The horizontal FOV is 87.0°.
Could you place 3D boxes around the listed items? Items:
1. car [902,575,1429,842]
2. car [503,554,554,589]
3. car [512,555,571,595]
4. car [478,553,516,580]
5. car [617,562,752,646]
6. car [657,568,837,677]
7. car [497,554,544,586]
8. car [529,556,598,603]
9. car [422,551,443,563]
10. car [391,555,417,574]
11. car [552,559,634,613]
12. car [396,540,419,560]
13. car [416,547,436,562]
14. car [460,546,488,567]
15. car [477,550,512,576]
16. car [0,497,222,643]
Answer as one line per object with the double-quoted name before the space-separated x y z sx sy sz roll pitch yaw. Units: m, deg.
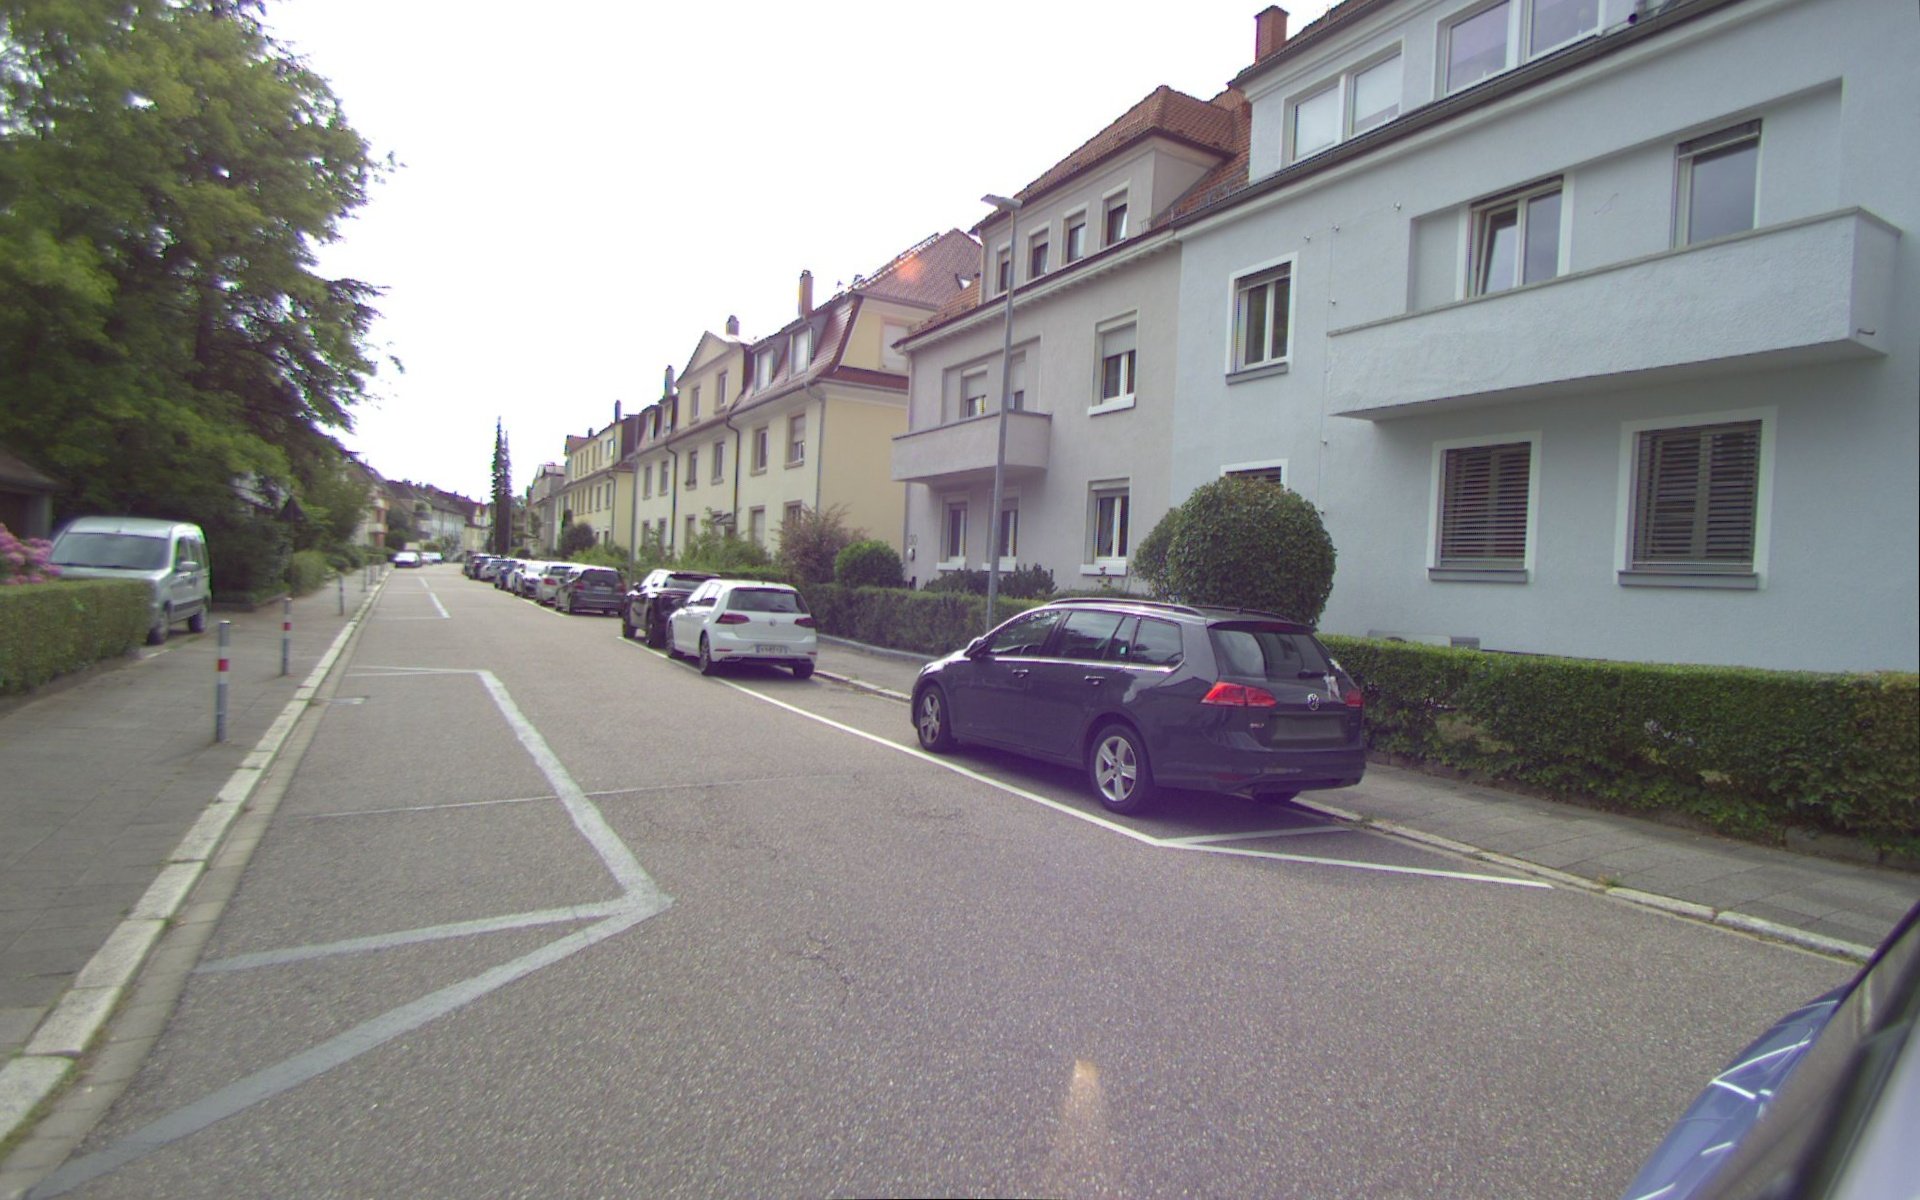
"car" 1.353 0.632 8.313 1.823 1.489 4.179 2 2 -32
"car" -20.059 -1.343 46.920 1.822 1.489 4.183 2 2 -28
"car" -17.102 -1.044 41.294 1.822 1.489 4.183 2 2 -28
"car" -28.223 -2.070 61.641 1.822 1.489 4.183 2 2 -28
"car" -5.852 0.025 21.123 1.822 1.489 4.183 2 2 -28
"car" -3.661 0.291 16.794 1.822 1.489 4.183 2 2 -28
"car" -22.108 -1.534 50.831 1.822 1.489 4.183 2 2 -28
"car" -14.211 -0.757 36.166 1.822 1.489 4.183 2 2 -28
"car" -71.856 -5.907 137.904 1.958 1.555 4.010 1 2 -20
"car" -54.177 -3.483 98.630 1.958 1.660 4.008 2 2 -25
"car" -11.461 -0.468 31.471 1.822 1.489 4.183 2 2 -28
"car" -60.014 -5.384 109.930 1.959 2.038 4.007 2 1 -27
"car" -66.079 -5.636 125.242 1.958 1.660 4.008 2 2 -25
"car" -39.982 -3.553 83.155 1.822 1.597 4.182 2 2 -29
"car" -30.773 -2.458 66.850 1.822 1.597 4.183 2 2 -28
"car" -12.659 -0.463 15.137 1.959 1.860 4.007 2 2 -27
